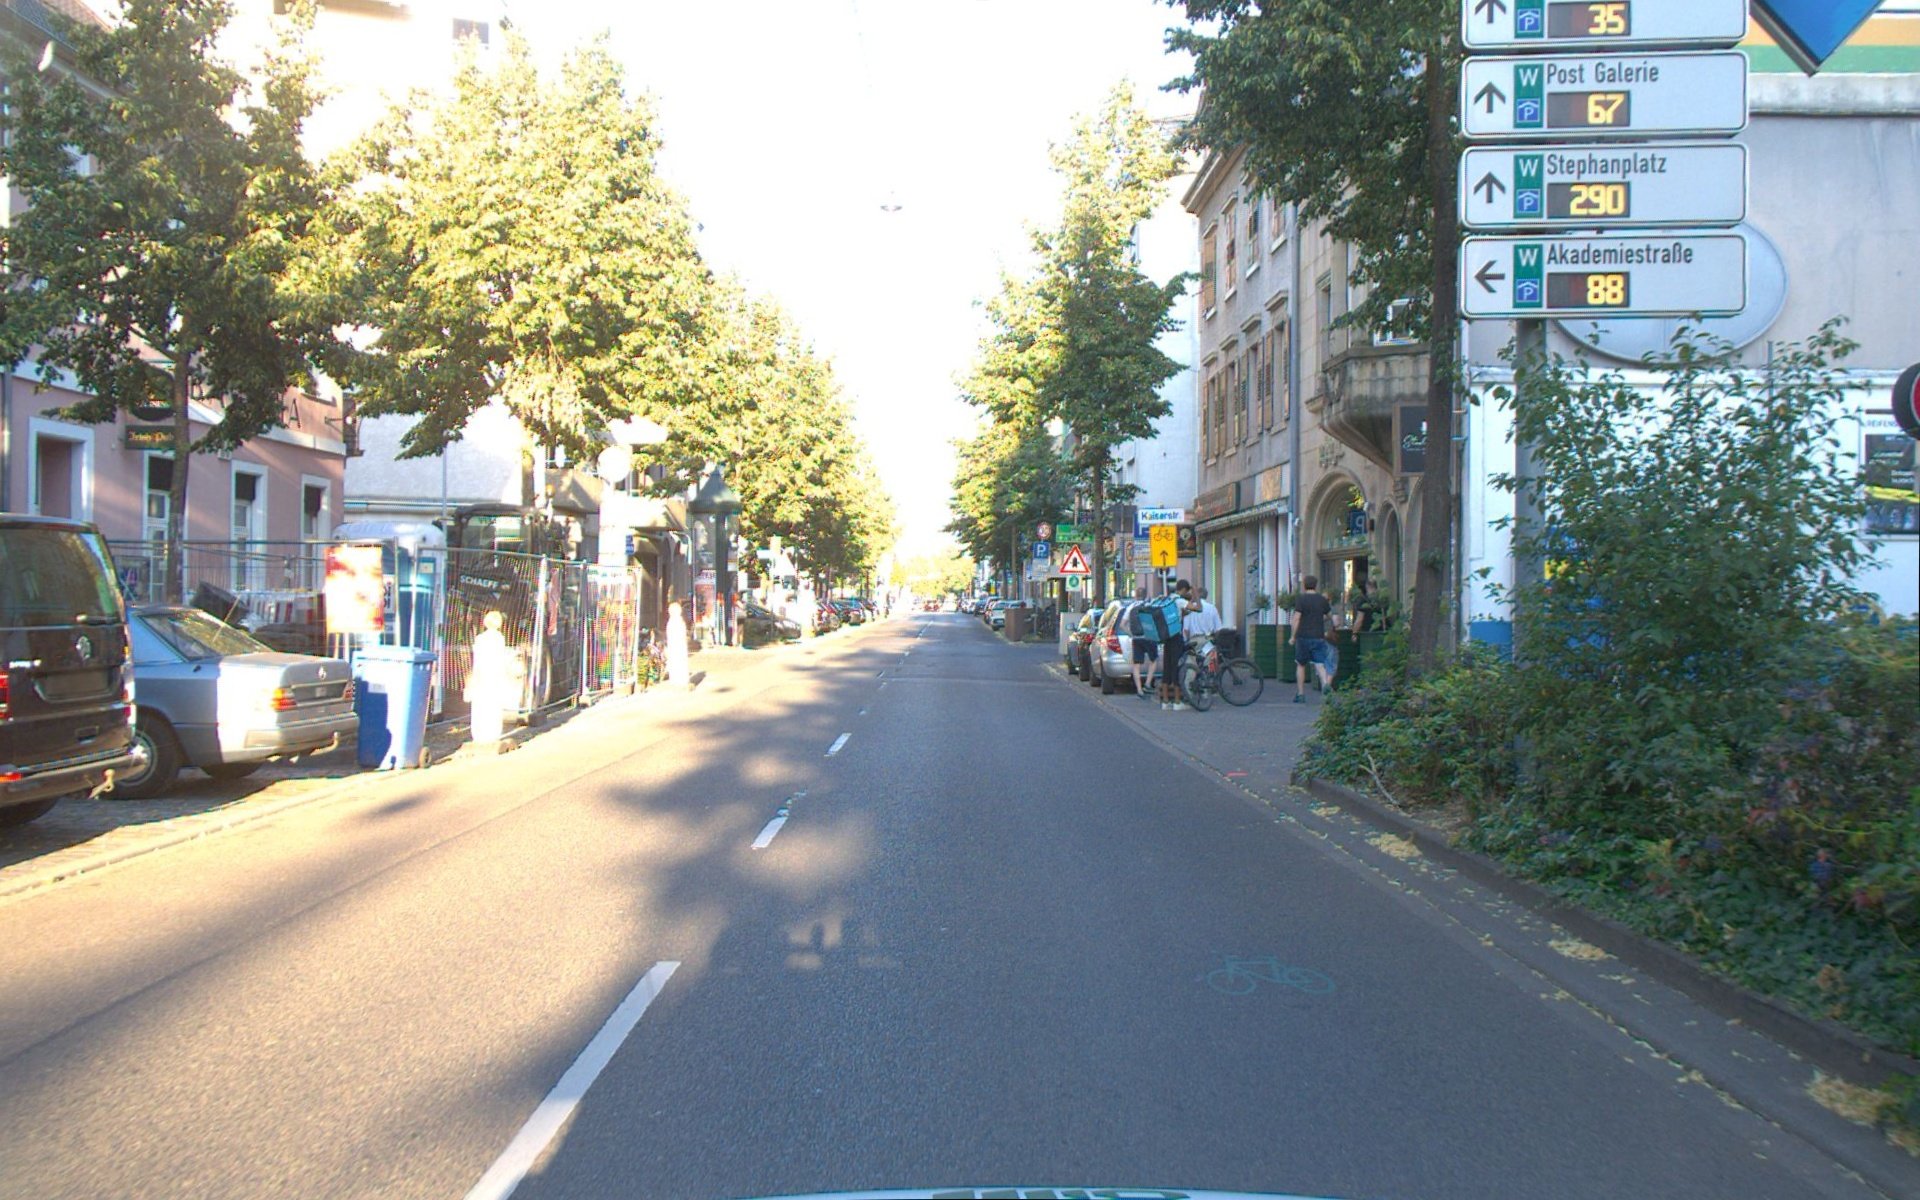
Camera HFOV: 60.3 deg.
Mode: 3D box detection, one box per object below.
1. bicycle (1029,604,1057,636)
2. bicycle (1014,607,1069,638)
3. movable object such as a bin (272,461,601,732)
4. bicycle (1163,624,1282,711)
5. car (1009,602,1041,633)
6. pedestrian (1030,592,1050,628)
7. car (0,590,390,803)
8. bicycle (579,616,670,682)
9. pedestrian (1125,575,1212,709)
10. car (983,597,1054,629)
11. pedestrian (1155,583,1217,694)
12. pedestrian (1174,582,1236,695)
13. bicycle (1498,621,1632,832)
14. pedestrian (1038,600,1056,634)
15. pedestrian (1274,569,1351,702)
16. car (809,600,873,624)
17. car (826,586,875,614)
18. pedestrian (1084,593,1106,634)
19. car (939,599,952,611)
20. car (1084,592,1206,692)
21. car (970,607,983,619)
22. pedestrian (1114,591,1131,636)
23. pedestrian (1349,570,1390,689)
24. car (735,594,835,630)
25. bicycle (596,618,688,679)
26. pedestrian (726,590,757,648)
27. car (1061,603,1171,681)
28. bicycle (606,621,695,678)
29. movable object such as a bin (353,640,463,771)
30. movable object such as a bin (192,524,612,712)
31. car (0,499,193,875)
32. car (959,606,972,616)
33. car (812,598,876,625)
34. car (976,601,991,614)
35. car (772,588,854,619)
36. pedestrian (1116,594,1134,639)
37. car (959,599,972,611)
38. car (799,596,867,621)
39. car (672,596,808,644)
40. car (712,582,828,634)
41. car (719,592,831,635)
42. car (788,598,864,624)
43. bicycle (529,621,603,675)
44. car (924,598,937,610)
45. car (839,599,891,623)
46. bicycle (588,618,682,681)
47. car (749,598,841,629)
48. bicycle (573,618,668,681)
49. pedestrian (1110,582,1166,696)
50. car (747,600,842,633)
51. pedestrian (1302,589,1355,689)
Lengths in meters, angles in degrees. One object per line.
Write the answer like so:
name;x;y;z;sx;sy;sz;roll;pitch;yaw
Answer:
bicycle;3.156;0.759;62.757;0.585;1.198;1.847;0;0;19
bicycle;3.025;0.833;61.295;1.918;1.092;0.704;0;0;31
movable object such as a bin;-6.442;-0.039;21.205;2.571;3.021;5.302;0;0;-1
bicycle;3.780;0.943;23.722;0.850;1.118;1.918;-2;1;38
car;3.170;0.848;81.319;1.511;1.458;3.678;1;0;1
pedestrian;4.412;0.526;91.275;0.900;1.959;1.015;2;0;-10
car;-7.071;0.682;12.973;4.498;1.495;1.893;1;0;2
bicycle;-6.090;0.895;30.039;1.530;1.136;0.439;4;-2;-34
pedestrian;2.983;0.591;23.740;0.995;1.857;0.778;-2;0;-10
car;3.076;0.676;86.029;1.646;1.616;3.800;1;0;42
pedestrian;3.645;0.614;26.757;0.666;1.735;0.822;-2;0;-15
pedestrian;3.861;0.608;26.044;0.648;1.730;0.657;-2;0;-45
bicycle;3.834;0.750;10.415;0.473;1.163;1.677;-3;0;30
pedestrian;3.660;0.702;69.342;0.711;1.402;0.781;0;0;-1
pedestrian;5.197;0.513;24.461;0.806;1.886;1.097;-2;0;-2
car;-8.154;0.822;113.491;4.215;1.626;1.919;1;0;0
car;-10.109;-0.009;153.026;4.351;2.477;1.919;1;0;0
pedestrian;5.512;0.560;67.330;0.779;1.654;0.913;0;0;12
car;-1.919;0.653;215.934;1.685;1.501;3.304;0;-1;1
car;3.240;0.699;29.632;1.652;1.602;4.013;-2;0;0
car;1.816;1.427;183.711;1.482;1.285;3.304;1;-1;1
pedestrian;6.020;0.508;61.258;0.555;1.627;0.663;-1;1;0
pedestrian;6.642;0.472;26.850;0.452;1.908;0.499;-1;0;-16
car;-7.922;0.540;75.127;4.351;1.533;1.844;1;0;0
bicycle;-6.162;0.934;32.106;1.647;1.097;0.445;3;-1;7
pedestrian;-6.579;0.560;49.786;0.695;1.716;0.834;0;0;8
car;3.171;0.817;34.319;1.749;1.399;4.523;-2;0;-1
bicycle;-6.140;0.972;32.831;1.647;1.039;0.445;3;-1;7
movable object such as a bin;-4.999;0.943;15.019;0.675;1.124;0.883;-1;0;1
movable object such as a bin;-8.328;0.248;25.184;2.273;2.539;5.719;0;0;42
car;-7.201;0.420;9.741;4.394;2.010;1.964;1;0;-3
car;0.683;1.379;206.487;1.482;1.321;3.304;1;-1;1
car;-8.093;0.786;115.594;4.351;1.790;1.919;1;0;0
car;2.389;0.770;165.452;1.482;1.298;3.304;1;-1;1
car;-8.143;0.195;91.703;4.351;1.595;1.919;1;0;0
pedestrian;6.038;0.587;60.494;0.555;1.611;0.663;-1;1;0
car;0.754;0.660;217.871;1.716;1.567;3.304;0;-1;1
car;-8.357;0.553;109.092;4.351;1.549;1.919;1;0;0
car;-7.532;0.672;56.961;4.454;1.568;1.810;1;0;-2
car;-7.688;0.321;67.384;4.478;1.996;1.990;1;0;-1
car;-7.785;0.584;70.047;4.478;1.727;2.060;1;0;0
car;-7.936;0.651;98.223;4.351;1.474;1.919;1;0;0
bicycle;-7.610;0.924;31.951;1.296;0.997;0.444;1;-1;3
car;-3.999;0.582;224.501;1.716;1.567;3.304;0;-1;1
car;-8.213;0.983;143.295;4.351;1.994;1.919;1;0;0
bicycle;-6.191;0.938;31.520;1.647;1.097;0.445;3;-1;7
car;-8.165;0.673;81.998;4.351;1.484;1.859;1;0;0
bicycle;-6.341;0.924;30.927;1.648;1.097;0.444;3;-1;-1
pedestrian;2.846;0.617;26.468;0.665;1.785;0.823;0;0;-11
car;-7.934;0.784;79.694;4.351;1.510;1.809;1;0;0
pedestrian;6.016;0.623;27.011;0.645;1.589;0.701;-2;0;-1
